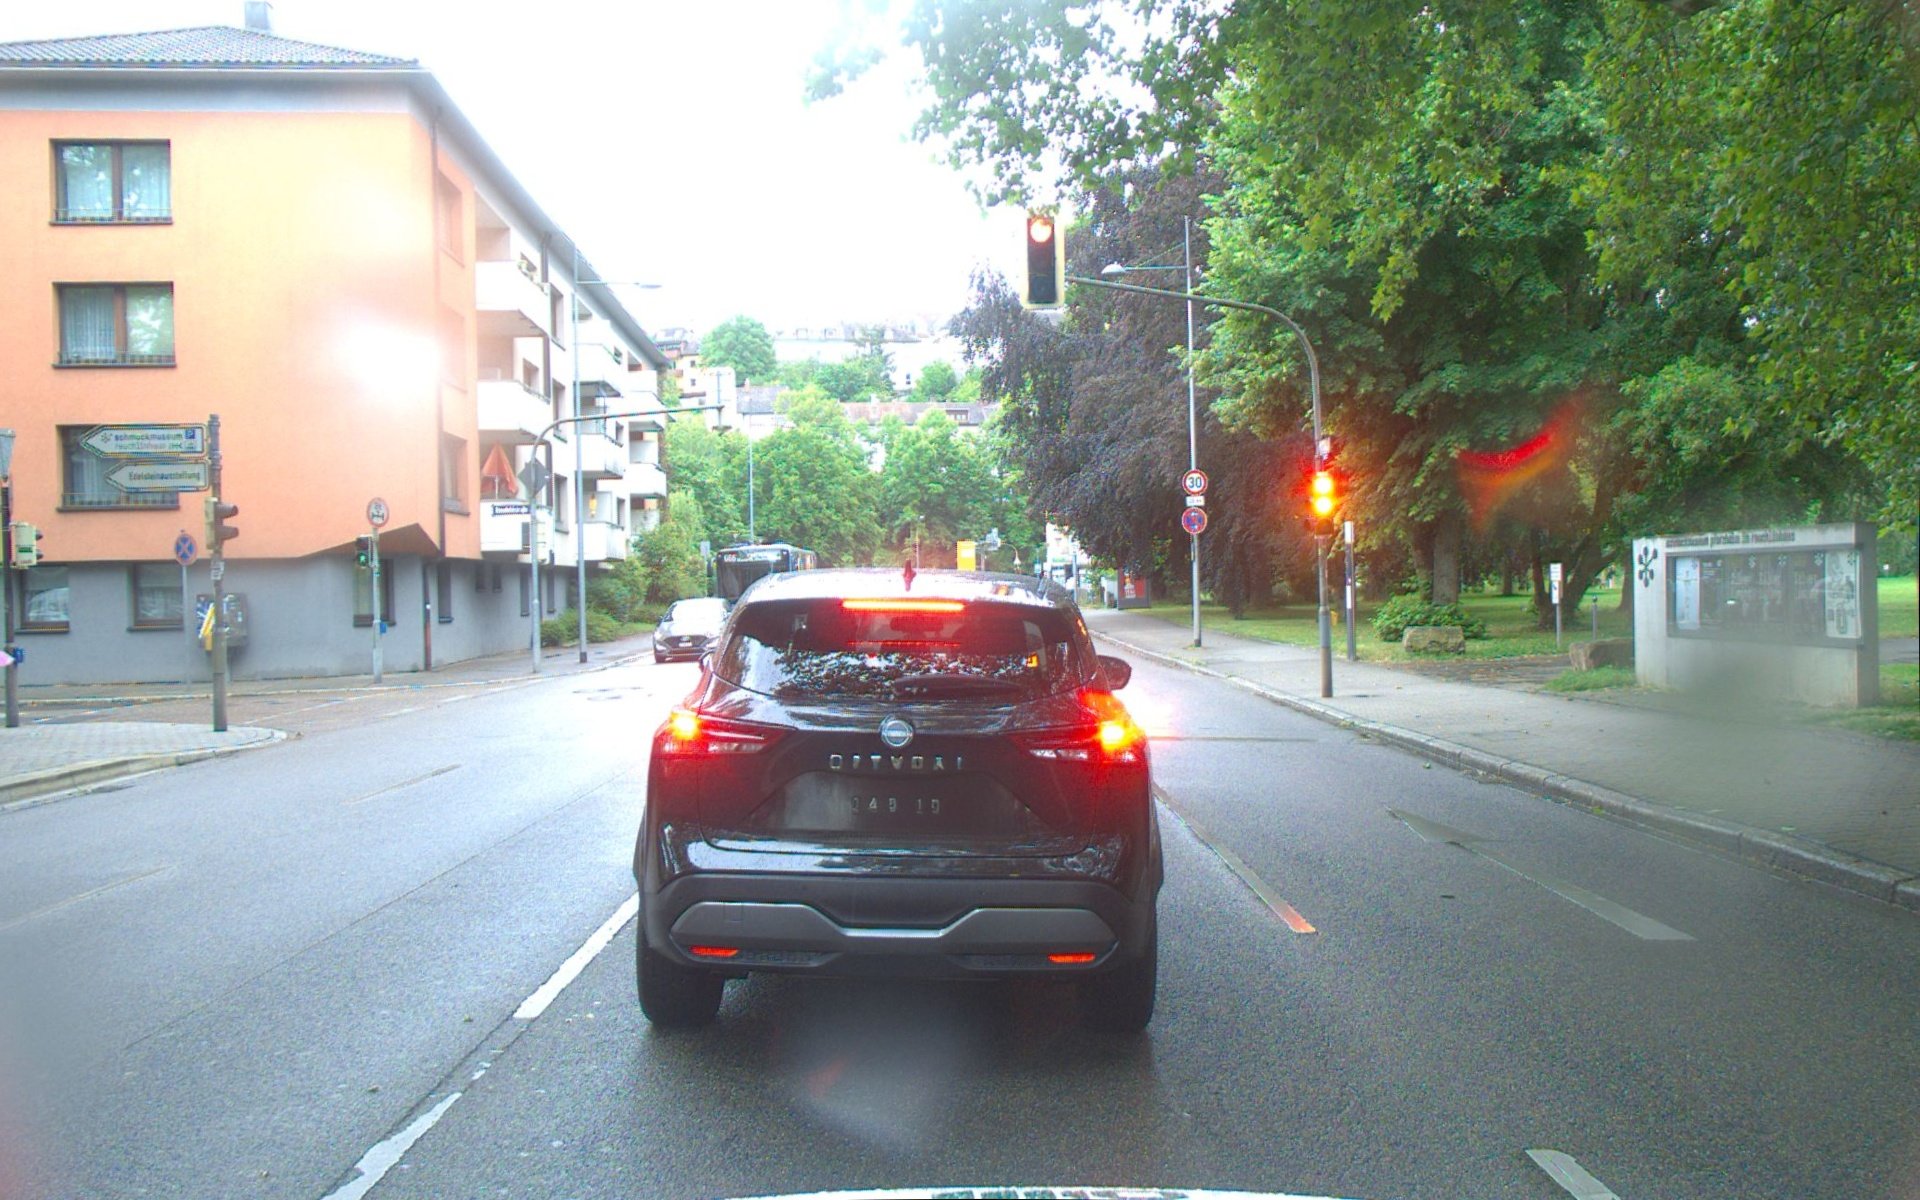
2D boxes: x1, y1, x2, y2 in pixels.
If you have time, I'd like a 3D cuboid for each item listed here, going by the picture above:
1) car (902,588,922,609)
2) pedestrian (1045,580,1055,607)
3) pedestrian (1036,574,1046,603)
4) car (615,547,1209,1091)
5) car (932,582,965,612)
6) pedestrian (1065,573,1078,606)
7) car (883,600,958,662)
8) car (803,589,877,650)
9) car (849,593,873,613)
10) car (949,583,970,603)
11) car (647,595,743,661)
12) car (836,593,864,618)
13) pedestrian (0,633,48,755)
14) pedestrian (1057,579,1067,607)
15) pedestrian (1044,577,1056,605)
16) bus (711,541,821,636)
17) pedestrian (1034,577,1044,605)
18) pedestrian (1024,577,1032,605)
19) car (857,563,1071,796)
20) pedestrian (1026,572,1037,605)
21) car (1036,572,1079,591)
[{"bbox_3d":[-4.756,-0.171,164.096,1.953,2.049,3.999,1,0,-1],"label":"car"},{"bbox_3d":[6.070,-0.460,111.342,0.606,1.810,0.550,-2,0,-1],"label":"pedestrian"},{"bbox_3d":[4.853,-0.680,98.878,0.504,1.684,0.550,1,-1,-1],"label":"pedestrian"},{"bbox_3d":[-0.168,0.673,6.999,1.769,1.618,3.999,1,0,-1],"label":"car"},{"bbox_3d":[-0.568,-0.155,83.153,1.591,1.439,3.454,-2,0,0],"label":"car"},{"bbox_3d":[6.323,-0.592,93.911,0.606,1.810,0.778,-2,0,-1],"label":"pedestrian"},{"bbox_3d":[-1.005,0.729,41.060,1.772,1.442,4.029,0,0,-2],"label":"car"},{"bbox_3d":[-3.027,0.463,42.259,1.591,1.439,3.454,-2,0,0],"label":"car"},{"bbox_3d":[-7.330,0.209,122.729,1.643,1.318,3.750,-3,1,-2],"label":"car"},{"bbox_3d":[-0.077,-0.595,139.524,1.714,1.662,3.634,-2,1,0],"label":"car"},{"bbox_3d":[-6.461,0.643,40.726,1.772,1.441,4.029,-3,1,-2],"label":"car"},{"bbox_3d":[-7.210,0.348,108.999,1.643,1.495,4.215,-3,1,-2],"label":"car"},{"bbox_3d":[-9.931,0.948,16.978,0.670,1.195,0.826,1,0,-1],"label":"pedestrian"},{"bbox_3d":[6.915,-0.475,111.917,0.606,1.810,0.550,-2,0,-1],"label":"pedestrian"},{"bbox_3d":[5.456,-0.525,100.563,0.685,1.680,0.628,1,-1,0],"label":"pedestrian"},{"bbox_3d":[-6.821,-0.378,59.951,2.710,3.026,11.779,-1,0,-1],"label":"bus"},{"bbox_3d":[4.798,-0.537,100.428,0.533,1.680,0.490,1,-1,0],"label":"pedestrian"},{"bbox_3d":[4.133,-0.548,100.416,0.465,1.680,0.490,1,-1,0],"label":"pedestrian"},{"bbox_3d":[0.060,0.601,14.623,1.588,1.738,3.771,-2,0,1],"label":"car"},{"bbox_3d":[4.813,-0.750,111.245,0.752,2.222,0.711,1,-1,2],"label":"pedestrian"},{"bbox_3d":[9.703,-1.843,164.530,3.916,1.713,1.995,-2,0,-11],"label":"car"}]
